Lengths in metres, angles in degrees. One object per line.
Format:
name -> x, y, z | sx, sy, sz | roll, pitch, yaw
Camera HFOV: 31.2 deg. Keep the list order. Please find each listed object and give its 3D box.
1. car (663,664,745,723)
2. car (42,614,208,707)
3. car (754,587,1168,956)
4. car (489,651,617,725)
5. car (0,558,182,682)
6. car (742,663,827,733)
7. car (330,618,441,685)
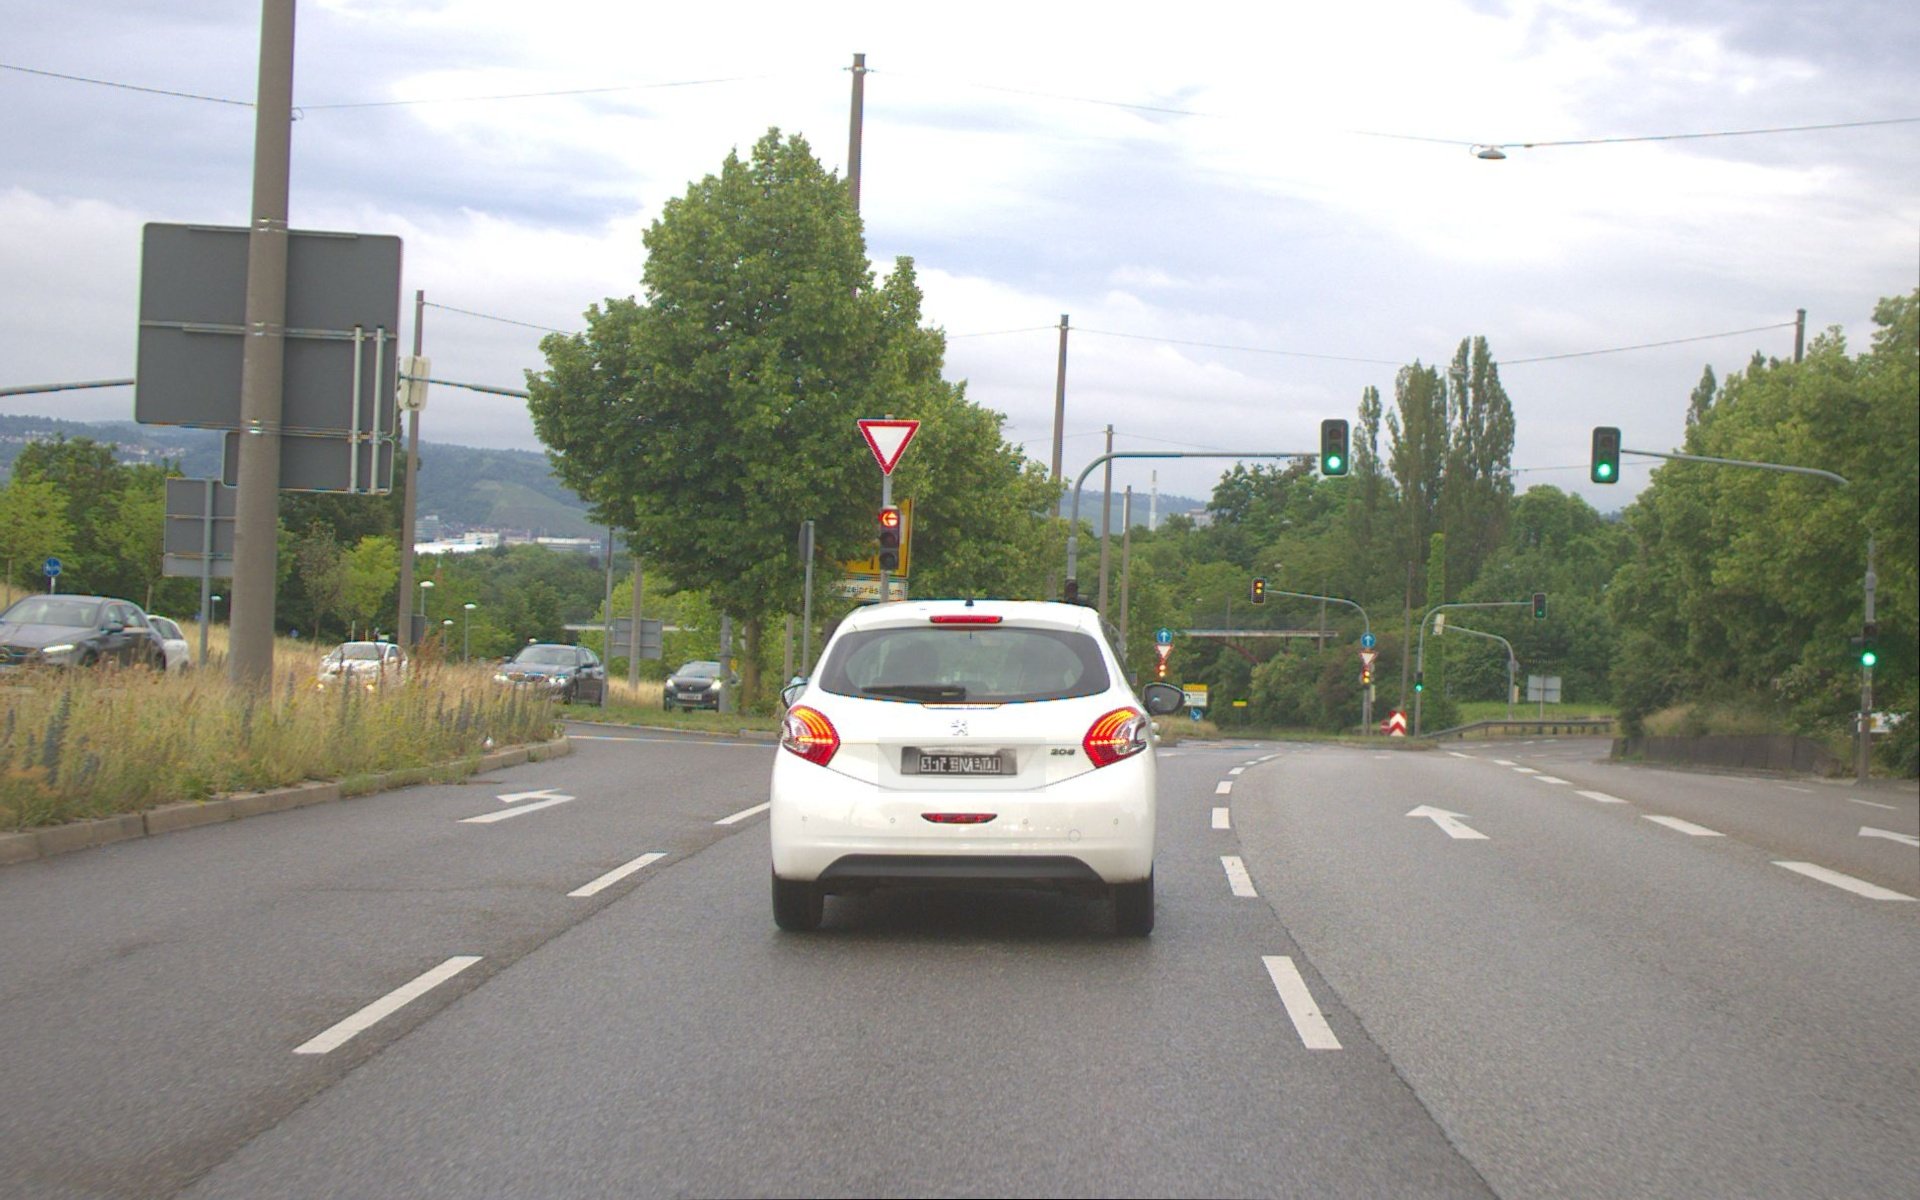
car -> -7.119, 2.614, 95.762 | 1.538, 1.499, 3.660 | 3, -2, 7
car -> -16.498, 1.230, 68.122 | 1.768, 1.643, 4.176 | 3, -2, 7
car -> 0.025, 0.709, 16.213 | 1.708, 1.435, 3.691 | 1, 1, 1
car -> -8.965, 1.964, 76.051 | 1.751, 1.499, 4.462 | 3, -2, 7
car -> -12.370, 0.298, 47.690 | 1.768, 1.513, 3.998 | 3, -2, 7
car -> -5.647, 3.159, 111.055 | 1.889, 2.007, 3.928 | 3, 1, 9
car -> -14.141, 1.291, 84.816 | 1.652, 1.458, 3.772 | 3, -2, 7
